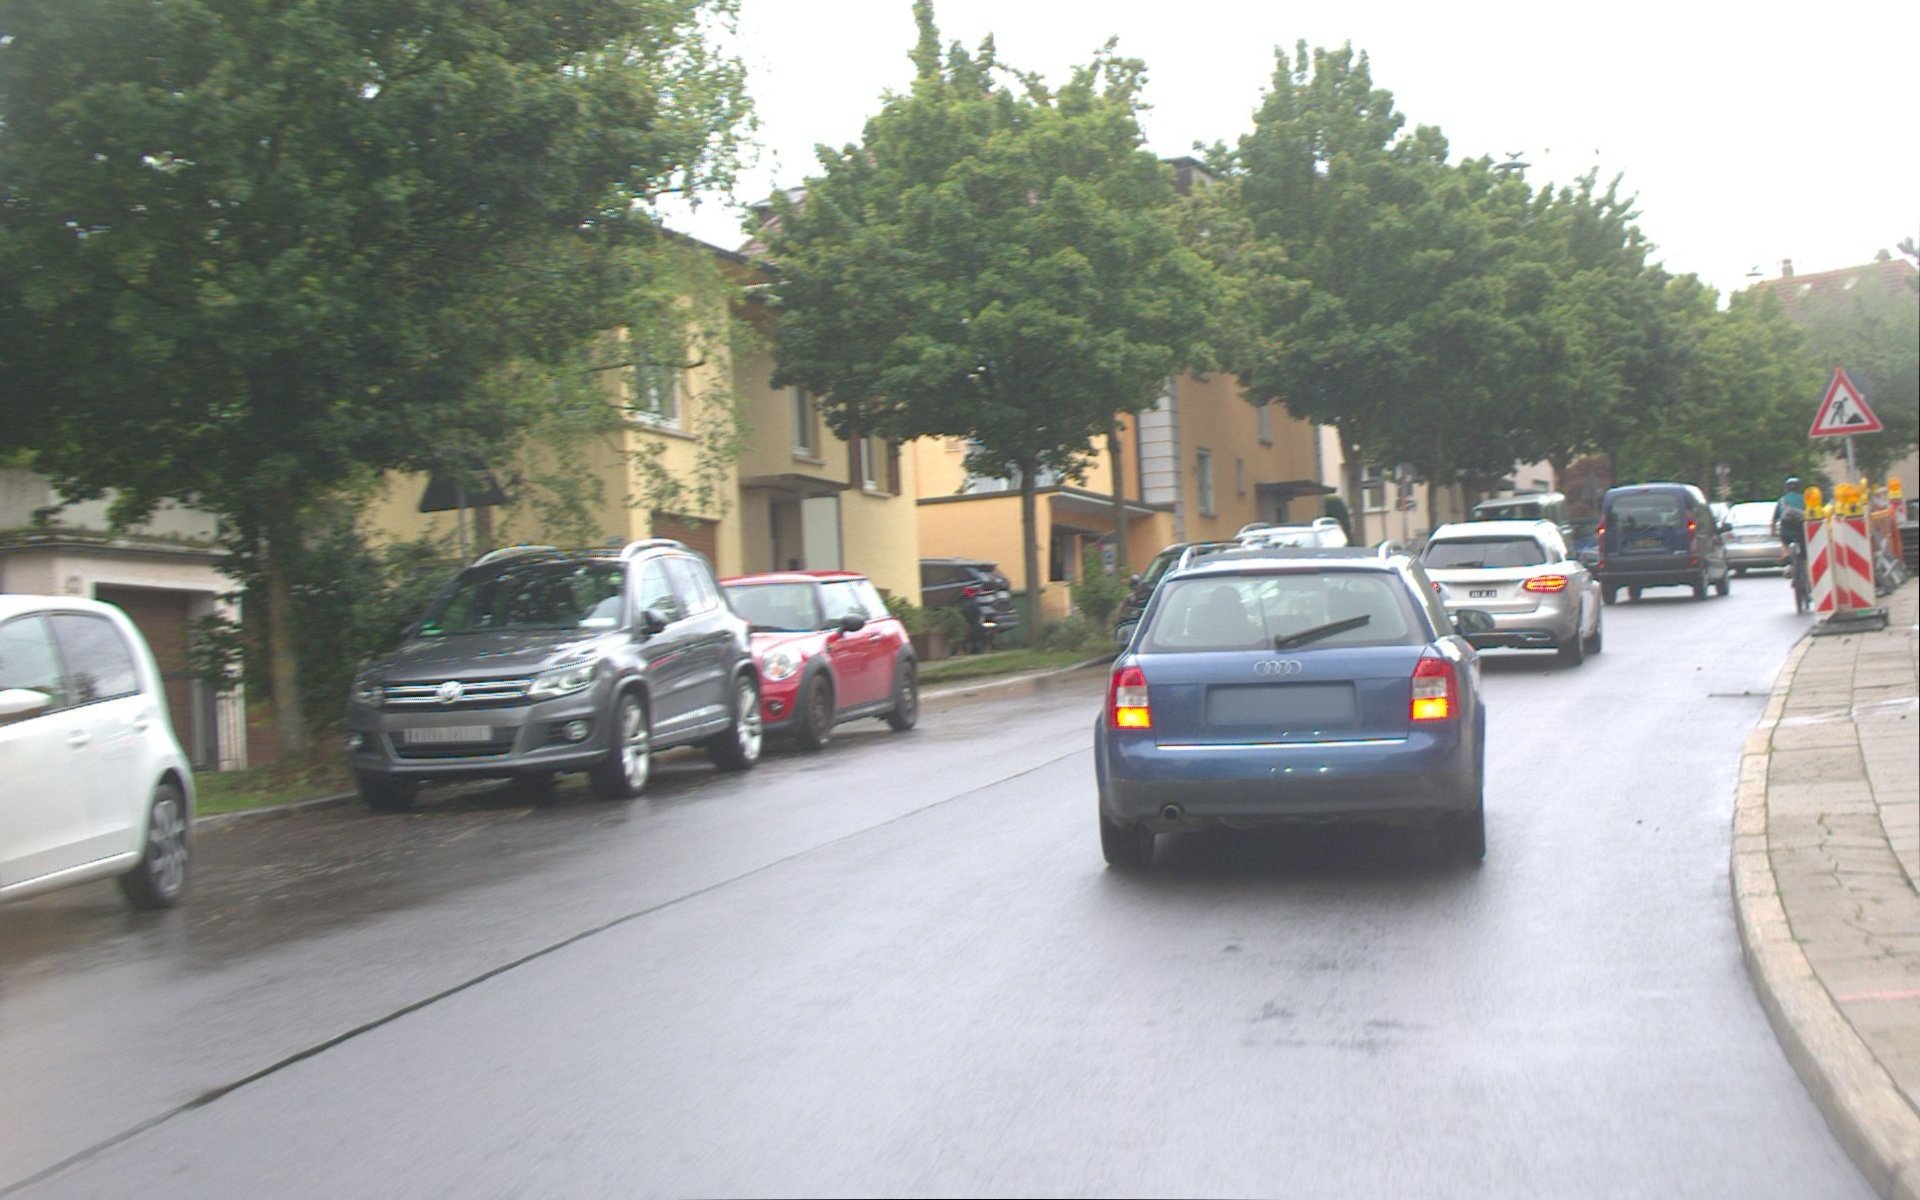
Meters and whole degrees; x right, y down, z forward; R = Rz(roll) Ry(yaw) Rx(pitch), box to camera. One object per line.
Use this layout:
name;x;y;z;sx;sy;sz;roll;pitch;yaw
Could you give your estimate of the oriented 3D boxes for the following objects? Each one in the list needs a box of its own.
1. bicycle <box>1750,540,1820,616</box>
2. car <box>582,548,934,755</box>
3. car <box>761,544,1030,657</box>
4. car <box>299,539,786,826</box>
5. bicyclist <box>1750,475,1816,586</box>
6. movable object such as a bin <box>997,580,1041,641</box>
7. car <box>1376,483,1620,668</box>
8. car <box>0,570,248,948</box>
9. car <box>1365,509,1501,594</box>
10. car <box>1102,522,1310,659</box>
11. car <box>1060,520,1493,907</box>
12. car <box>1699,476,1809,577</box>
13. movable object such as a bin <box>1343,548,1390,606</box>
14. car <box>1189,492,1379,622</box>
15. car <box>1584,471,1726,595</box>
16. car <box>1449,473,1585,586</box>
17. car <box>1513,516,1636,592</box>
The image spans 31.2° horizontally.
bicycle;11.217;-0.308;46.736;0.730;0.961;1.669;-2;1;19
car;-1.571;0.371;28.148;1.683;1.466;3.863;-4;0;15
car;-1.071;0.006;57.785;4.056;1.640;1.862;-3;0;18
car;-2.689;0.476;23.308;1.802;1.663;4.424;-4;0;13
bicyclist;11.196;-0.950;46.752;0.726;1.467;0.885;-3;1;19
movable object such as a bin;1.020;0.178;59.671;0.587;1.020;0.586;-2;1;16
car;5.599;-0.297;35.381;1.977;1.629;4.233;-1;3;16
car;-4.573;0.654;14.590;1.734;1.461;3.999;-2;1;8
car;9.271;-0.961;67.142;1.769;1.431;4.344;-5;0;18
car;3.346;-0.166;45.906;1.769;1.530;4.602;-5;1;16
car;1.633;0.442;16.460;1.734;1.461;3.999;-1;3;10
car;15.590;-1.467;67.365;1.735;1.762;4.232;-1;3;18
movable object such as a bin;7.675;-0.435;64.870;0.683;1.008;0.708;-8;0;14
car;4.871;-0.676;51.217;1.769;1.629;4.106;-7;0;19
car;11.071;-1.095;54.595;1.735;1.762;4.232;-1;3;18
car;11.709;-1.511;72.000;1.793;2.042;4.778;-7;1;19
car;13.962;-1.072;77.901;1.770;1.382;4.629;-5;1;22
